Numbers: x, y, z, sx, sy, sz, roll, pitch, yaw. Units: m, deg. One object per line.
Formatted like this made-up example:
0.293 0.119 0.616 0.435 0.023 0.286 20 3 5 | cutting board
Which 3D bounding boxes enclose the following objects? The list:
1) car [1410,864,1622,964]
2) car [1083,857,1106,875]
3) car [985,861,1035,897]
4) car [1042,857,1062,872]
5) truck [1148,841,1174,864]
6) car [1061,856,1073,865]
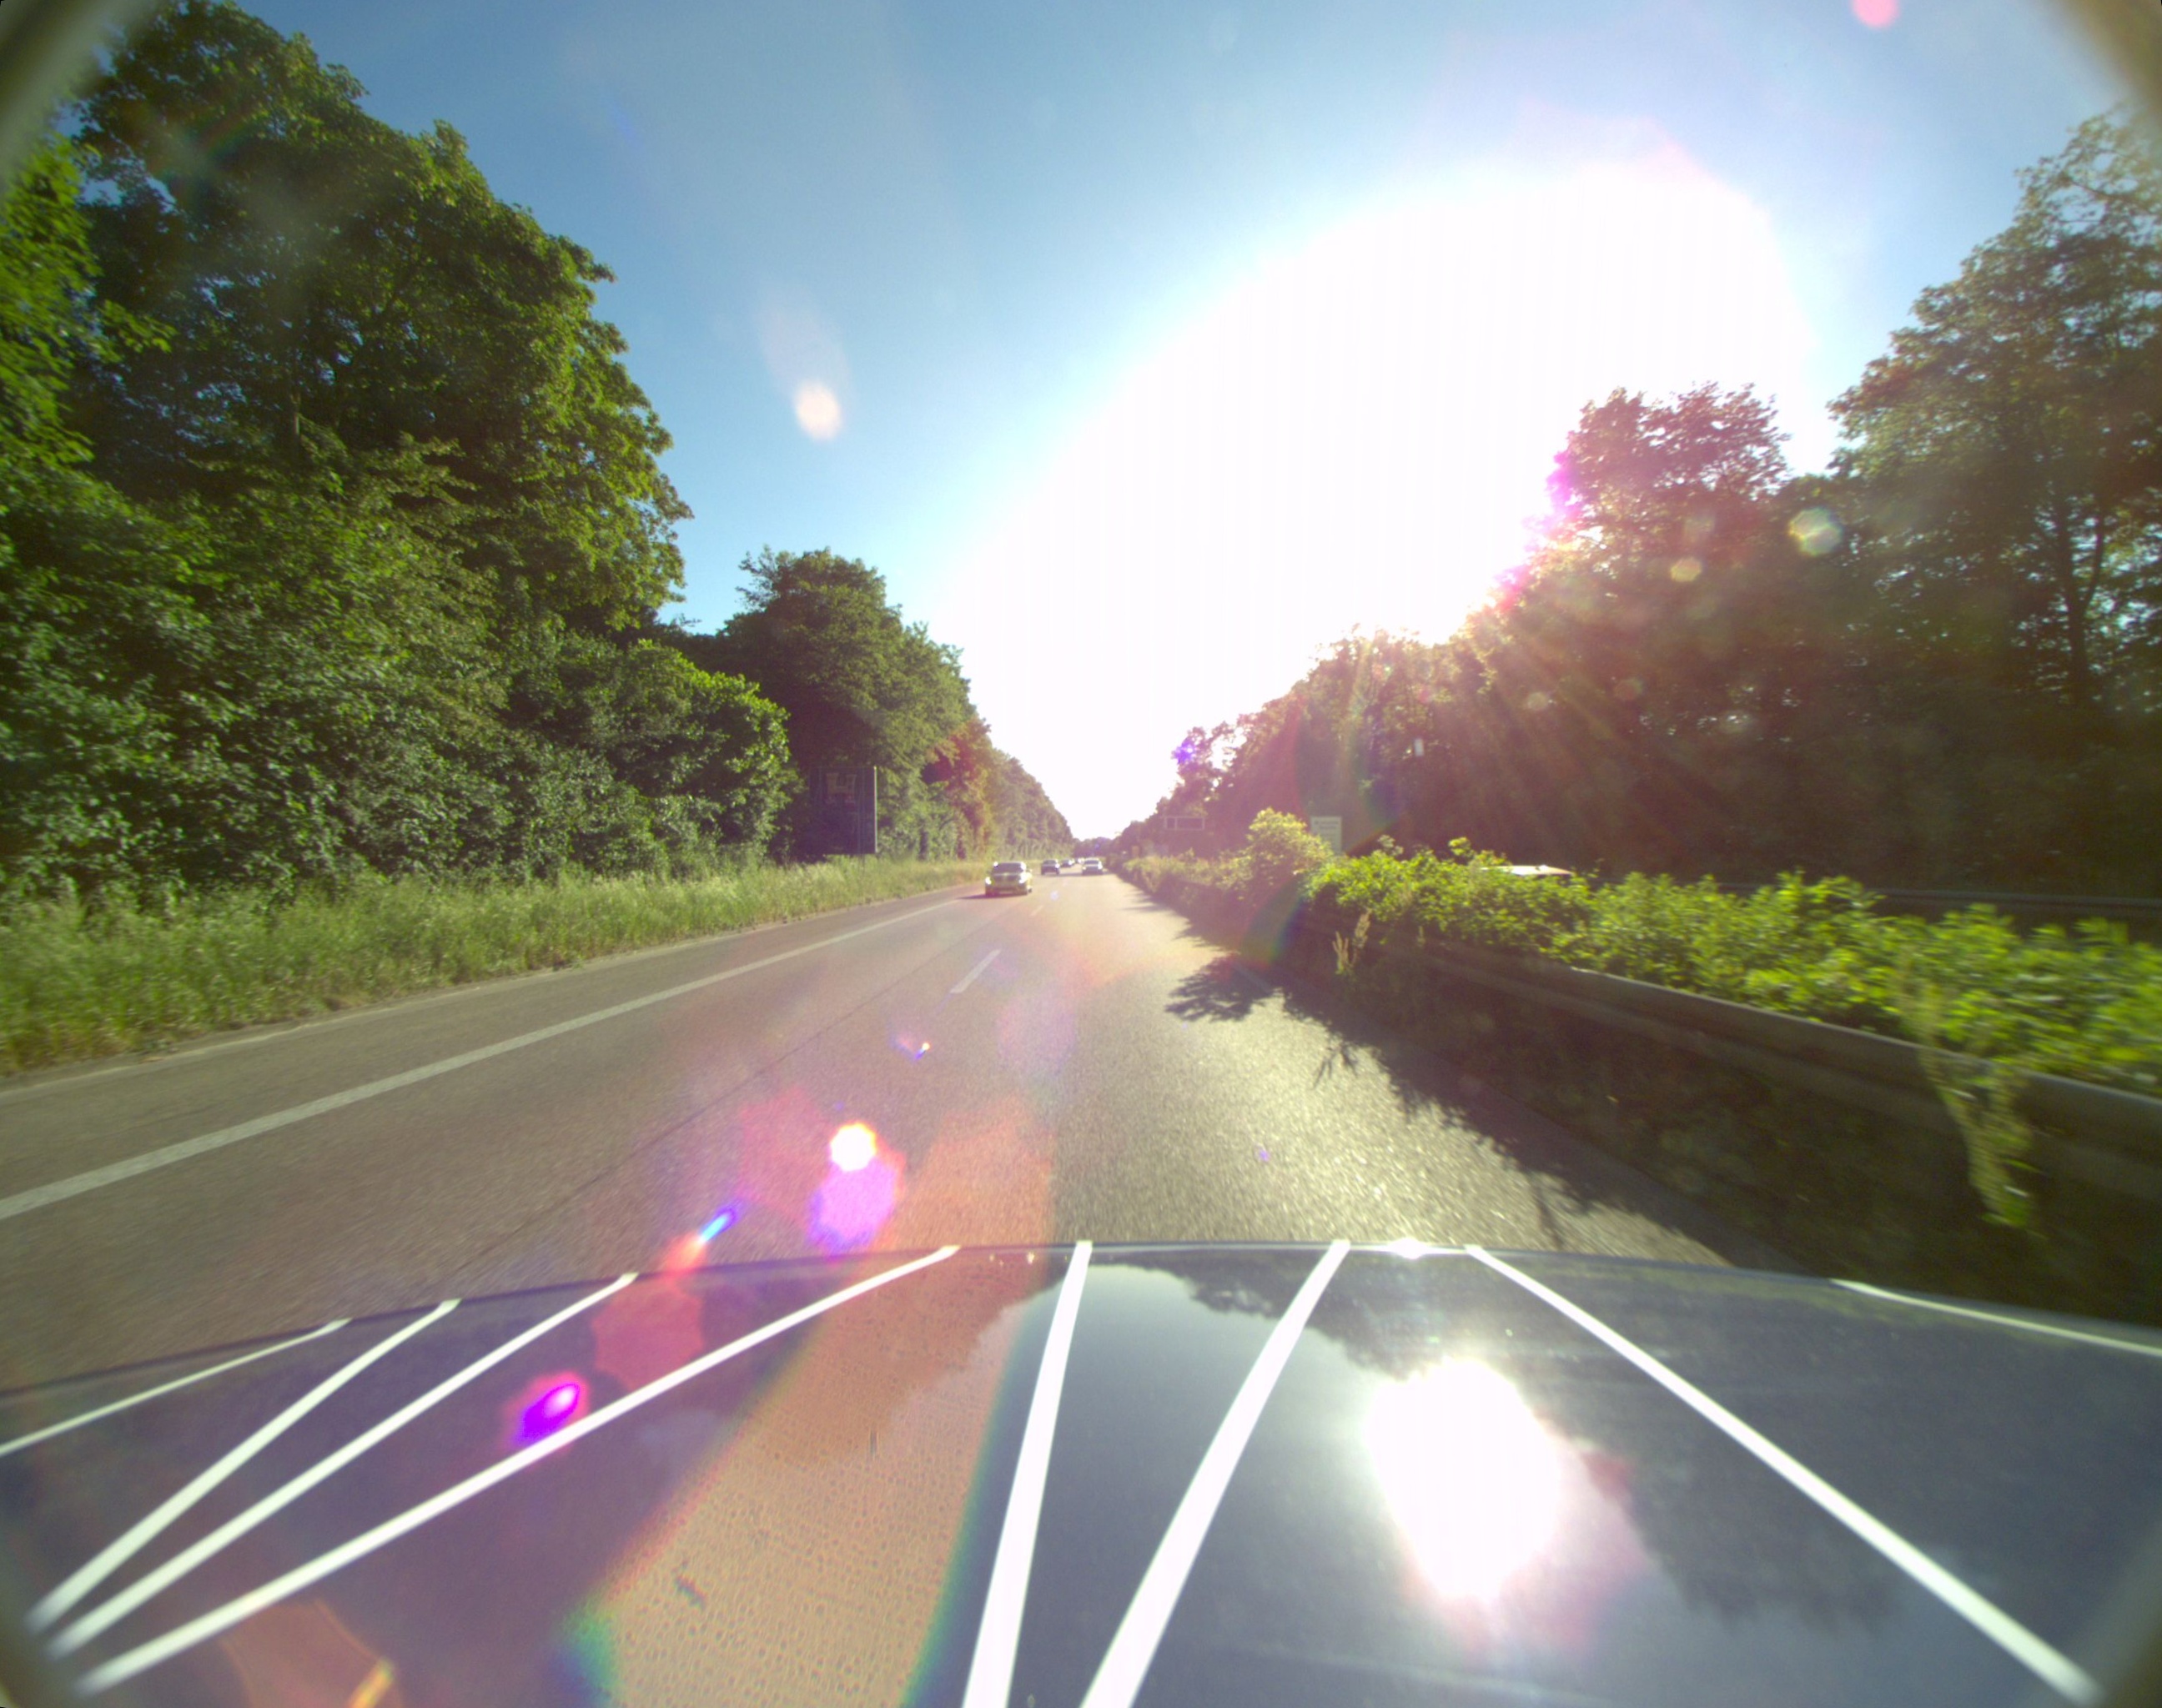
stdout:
8.614 1.085 15.598 1.737 1.593 4.583 -2 0 1 | car
1.171 1.004 65.023 1.890 1.440 3.878 -2 0 1 | car
-3.118 1.052 33.979 1.794 1.440 3.878 -2 0 0 | car
-2.939 1.073 76.951 1.794 1.440 3.878 -2 0 0 | car
14.647 -0.228 140.296 3.251 3.989 14.451 -2 0 1 | truck
-2.226 1.052 124.371 1.794 1.440 3.878 -2 0 0 | car
